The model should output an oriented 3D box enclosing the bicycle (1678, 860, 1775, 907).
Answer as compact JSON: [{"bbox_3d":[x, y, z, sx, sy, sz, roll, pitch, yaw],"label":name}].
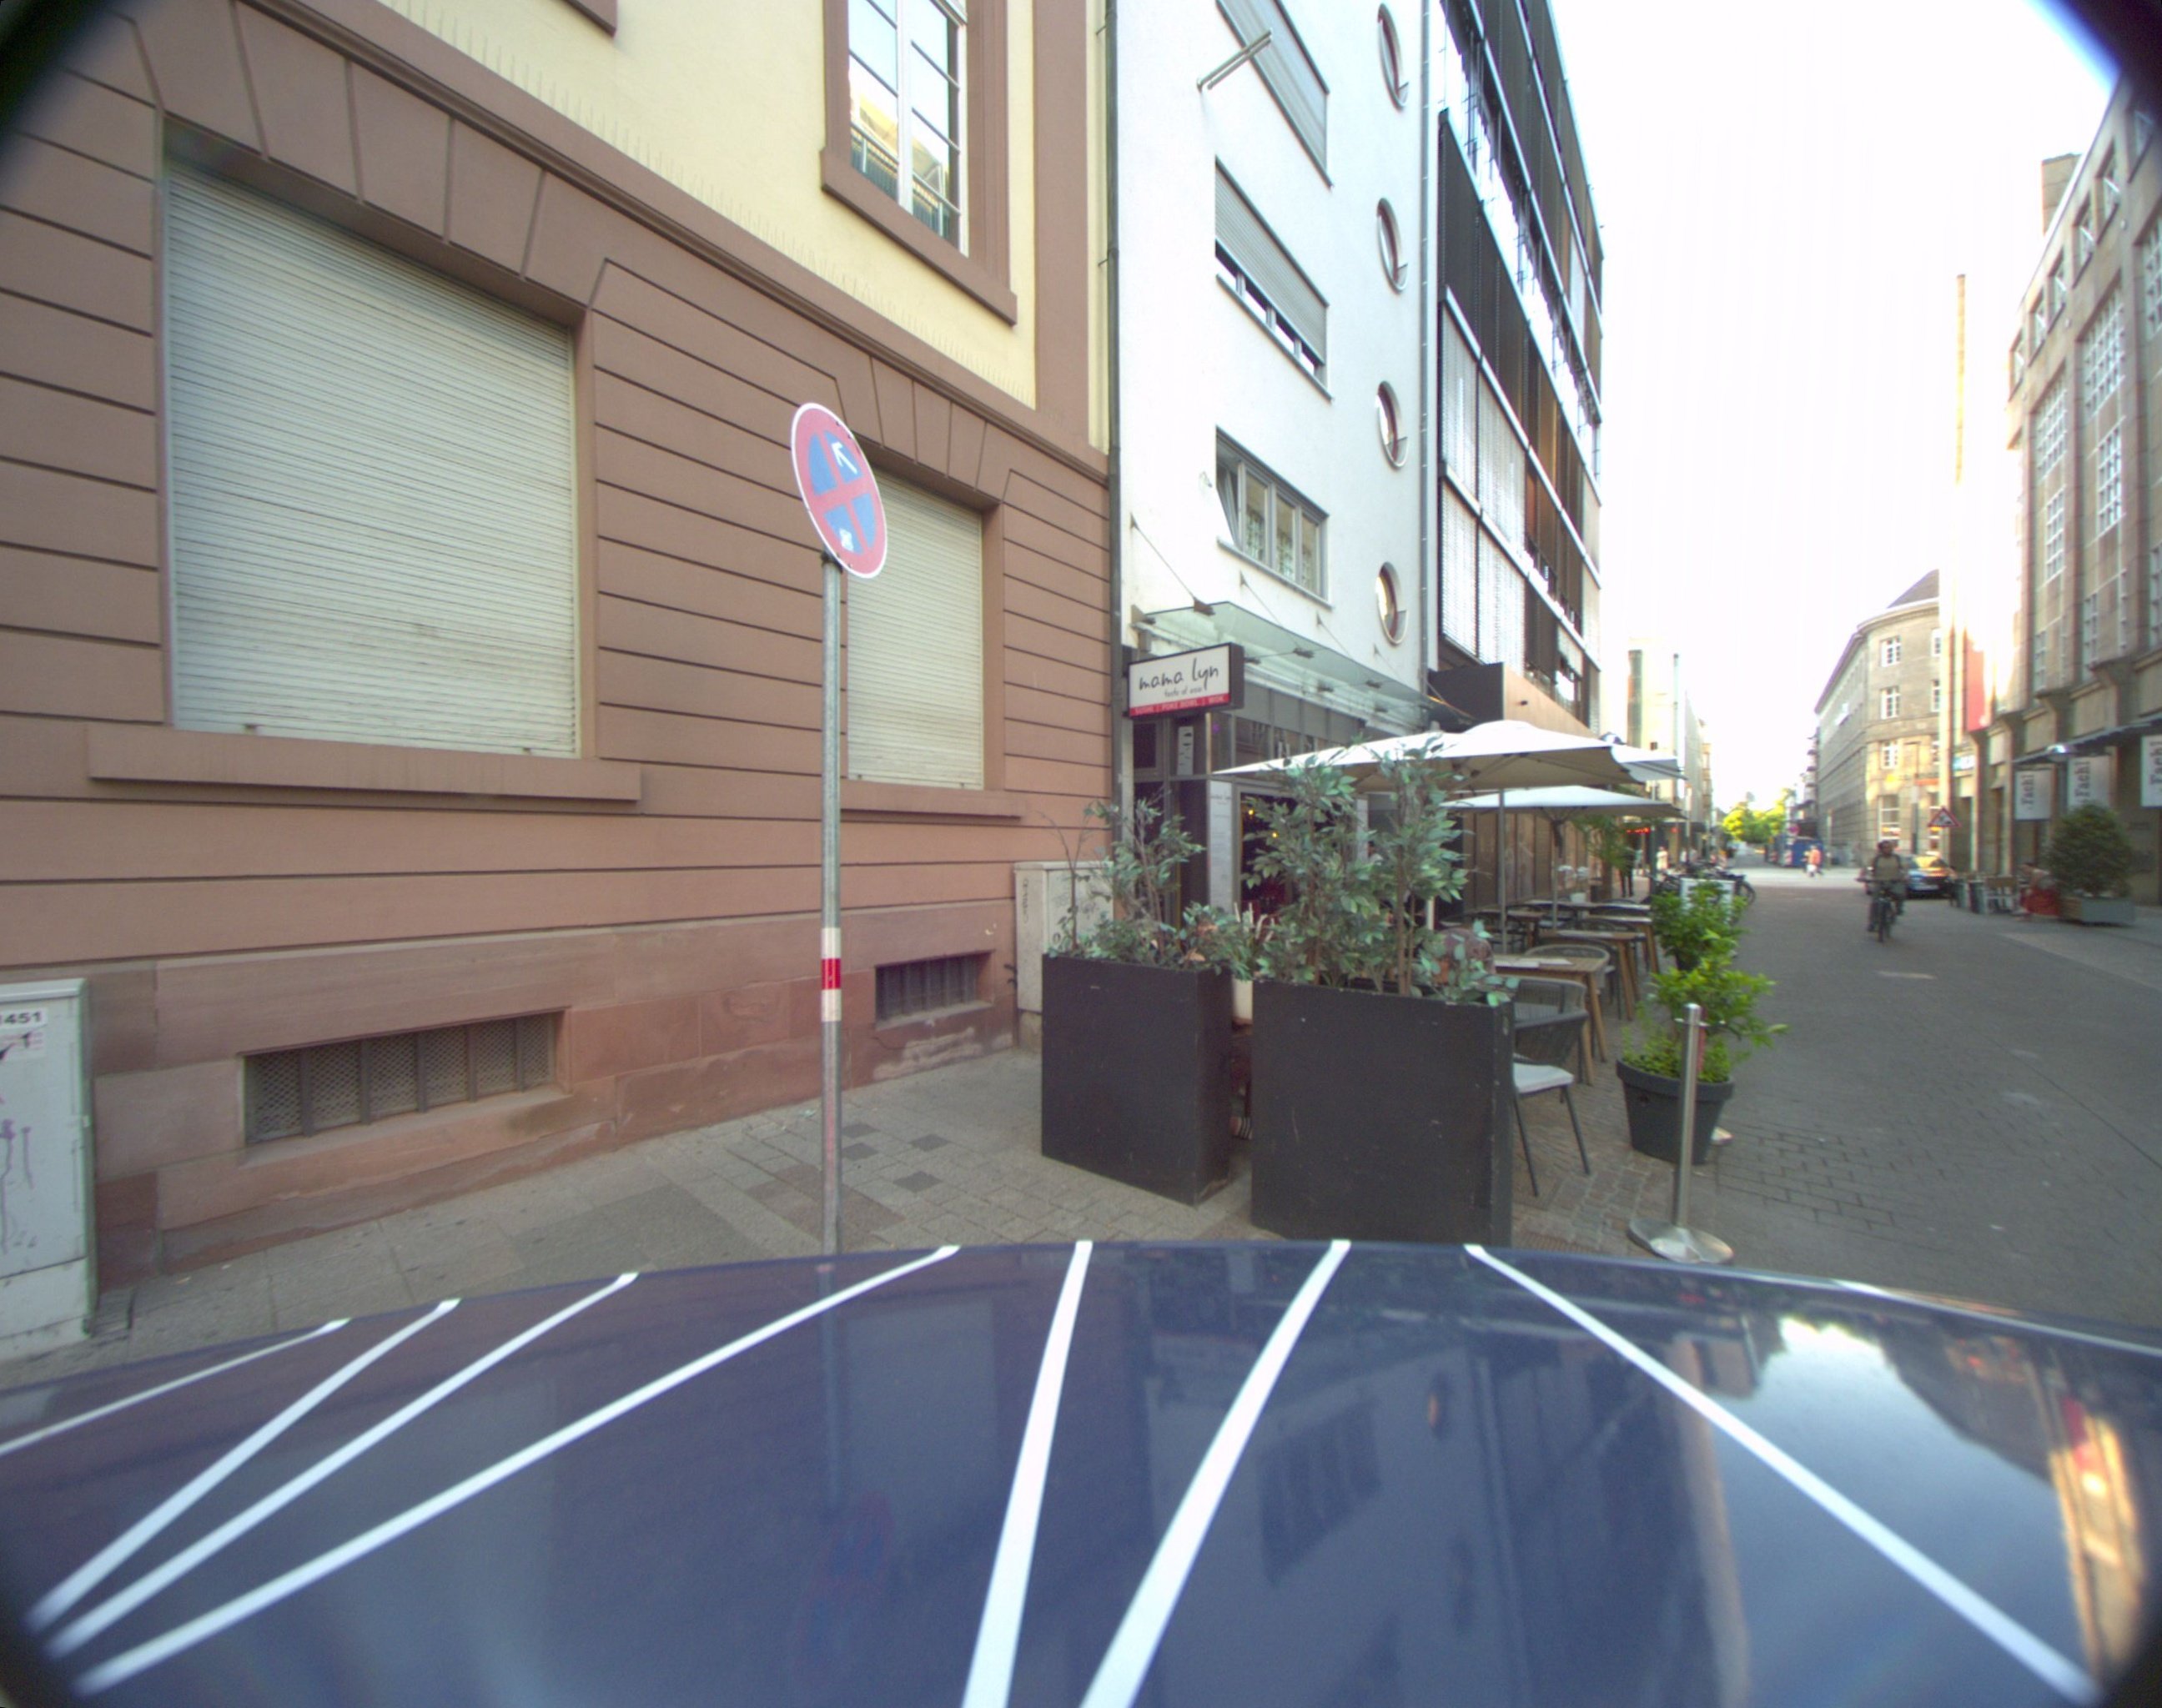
[{"bbox_3d":[18.399,0.815,21.713,2.033,1.161,0.667,4,3,40],"label":"bicycle"}]

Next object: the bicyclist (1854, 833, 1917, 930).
[{"bbox_3d":[14.342,0.477,13.568,0.674,1.660,0.871,0,1,40],"label":"bicyclist"}]

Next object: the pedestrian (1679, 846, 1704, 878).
[{"bbox_3d":[31.122,0.417,38.752,0.781,1.612,0.636,0,2,18],"label":"pedestrian"}]

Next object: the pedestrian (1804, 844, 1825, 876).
[{"bbox_3d":[38.368,0.296,39.748,0.763,1.628,0.670,1,2,41],"label":"pedestrian"}]

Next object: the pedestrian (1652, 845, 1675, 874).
[{"bbox_3d":[32.778,0.315,42.787,0.636,1.612,0.782,-1,2,-8],"label":"pedestrian"}]

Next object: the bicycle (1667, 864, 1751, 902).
[{"bbox_3d":[19.858,0.894,24.071,2.034,1.161,0.620,0,1,40],"label":"bicycle"}]

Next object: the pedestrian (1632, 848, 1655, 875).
[{"bbox_3d":[31.792,0.415,42.943,0.782,1.516,0.636,0,2,5],"label":"pedestrian"}]

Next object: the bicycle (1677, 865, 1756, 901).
[{"bbox_3d":[21.635,0.963,25.908,2.034,1.161,0.620,0,1,40],"label":"bicycle"}]

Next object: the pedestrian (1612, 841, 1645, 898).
[{"bbox_3d":[17.807,0.496,24.703,0.802,1.826,0.676,0,1,43],"label":"pedestrian"}]

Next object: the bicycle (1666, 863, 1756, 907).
[{"bbox_3d":[19.138,0.926,23.136,2.033,1.161,0.620,4,3,40],"label":"bicycle"}]

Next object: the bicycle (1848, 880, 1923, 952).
[{"bbox_3d":[14.386,1.060,13.636,0.698,1.121,2.009,0,0,40],"label":"bicycle"}]

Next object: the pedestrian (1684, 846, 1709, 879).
[{"bbox_3d":[30.927,0.432,38.158,0.781,1.612,0.636,0,2,18],"label":"pedestrian"}]

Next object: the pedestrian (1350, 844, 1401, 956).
[{"bbox_3d":[4.787,0.720,12.338,0.638,1.762,0.603,0,1,36],"label":"pedestrian"}]

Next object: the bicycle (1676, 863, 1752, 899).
[{"bbox_3d":[22.297,0.922,26.799,2.034,1.209,0.620,0,1,40],"label":"bicycle"}]

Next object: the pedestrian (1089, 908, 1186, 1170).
[{"bbox_3d":[0.322,0.967,4.183,0.362,1.298,0.496,0,1,27],"label":"pedestrian"}]

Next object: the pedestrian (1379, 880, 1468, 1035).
[{"bbox_3d":[3.440,0.988,7.608,0.574,1.412,0.870,0,1,42],"label":"pedestrian"}]

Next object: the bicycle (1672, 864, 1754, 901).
[{"bbox_3d":[20.637,0.906,24.858,2.034,1.161,0.620,0,1,40],"label":"bicycle"}]

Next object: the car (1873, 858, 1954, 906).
[{"bbox_3d":[26.854,0.846,24.610,3.611,1.415,1.599,-1,1,-45],"label":"car"}]

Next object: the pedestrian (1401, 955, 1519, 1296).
[{"bbox_3d":[1.551,1.052,3.102,0.399,1.206,0.384,0,1,32],"label":"pedestrian"}]

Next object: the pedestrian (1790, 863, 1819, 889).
[{"bbox_3d":[45.951,1.399,48.279,0.993,1.563,0.919,-1,1,-5],"label":"pedestrian"}]
